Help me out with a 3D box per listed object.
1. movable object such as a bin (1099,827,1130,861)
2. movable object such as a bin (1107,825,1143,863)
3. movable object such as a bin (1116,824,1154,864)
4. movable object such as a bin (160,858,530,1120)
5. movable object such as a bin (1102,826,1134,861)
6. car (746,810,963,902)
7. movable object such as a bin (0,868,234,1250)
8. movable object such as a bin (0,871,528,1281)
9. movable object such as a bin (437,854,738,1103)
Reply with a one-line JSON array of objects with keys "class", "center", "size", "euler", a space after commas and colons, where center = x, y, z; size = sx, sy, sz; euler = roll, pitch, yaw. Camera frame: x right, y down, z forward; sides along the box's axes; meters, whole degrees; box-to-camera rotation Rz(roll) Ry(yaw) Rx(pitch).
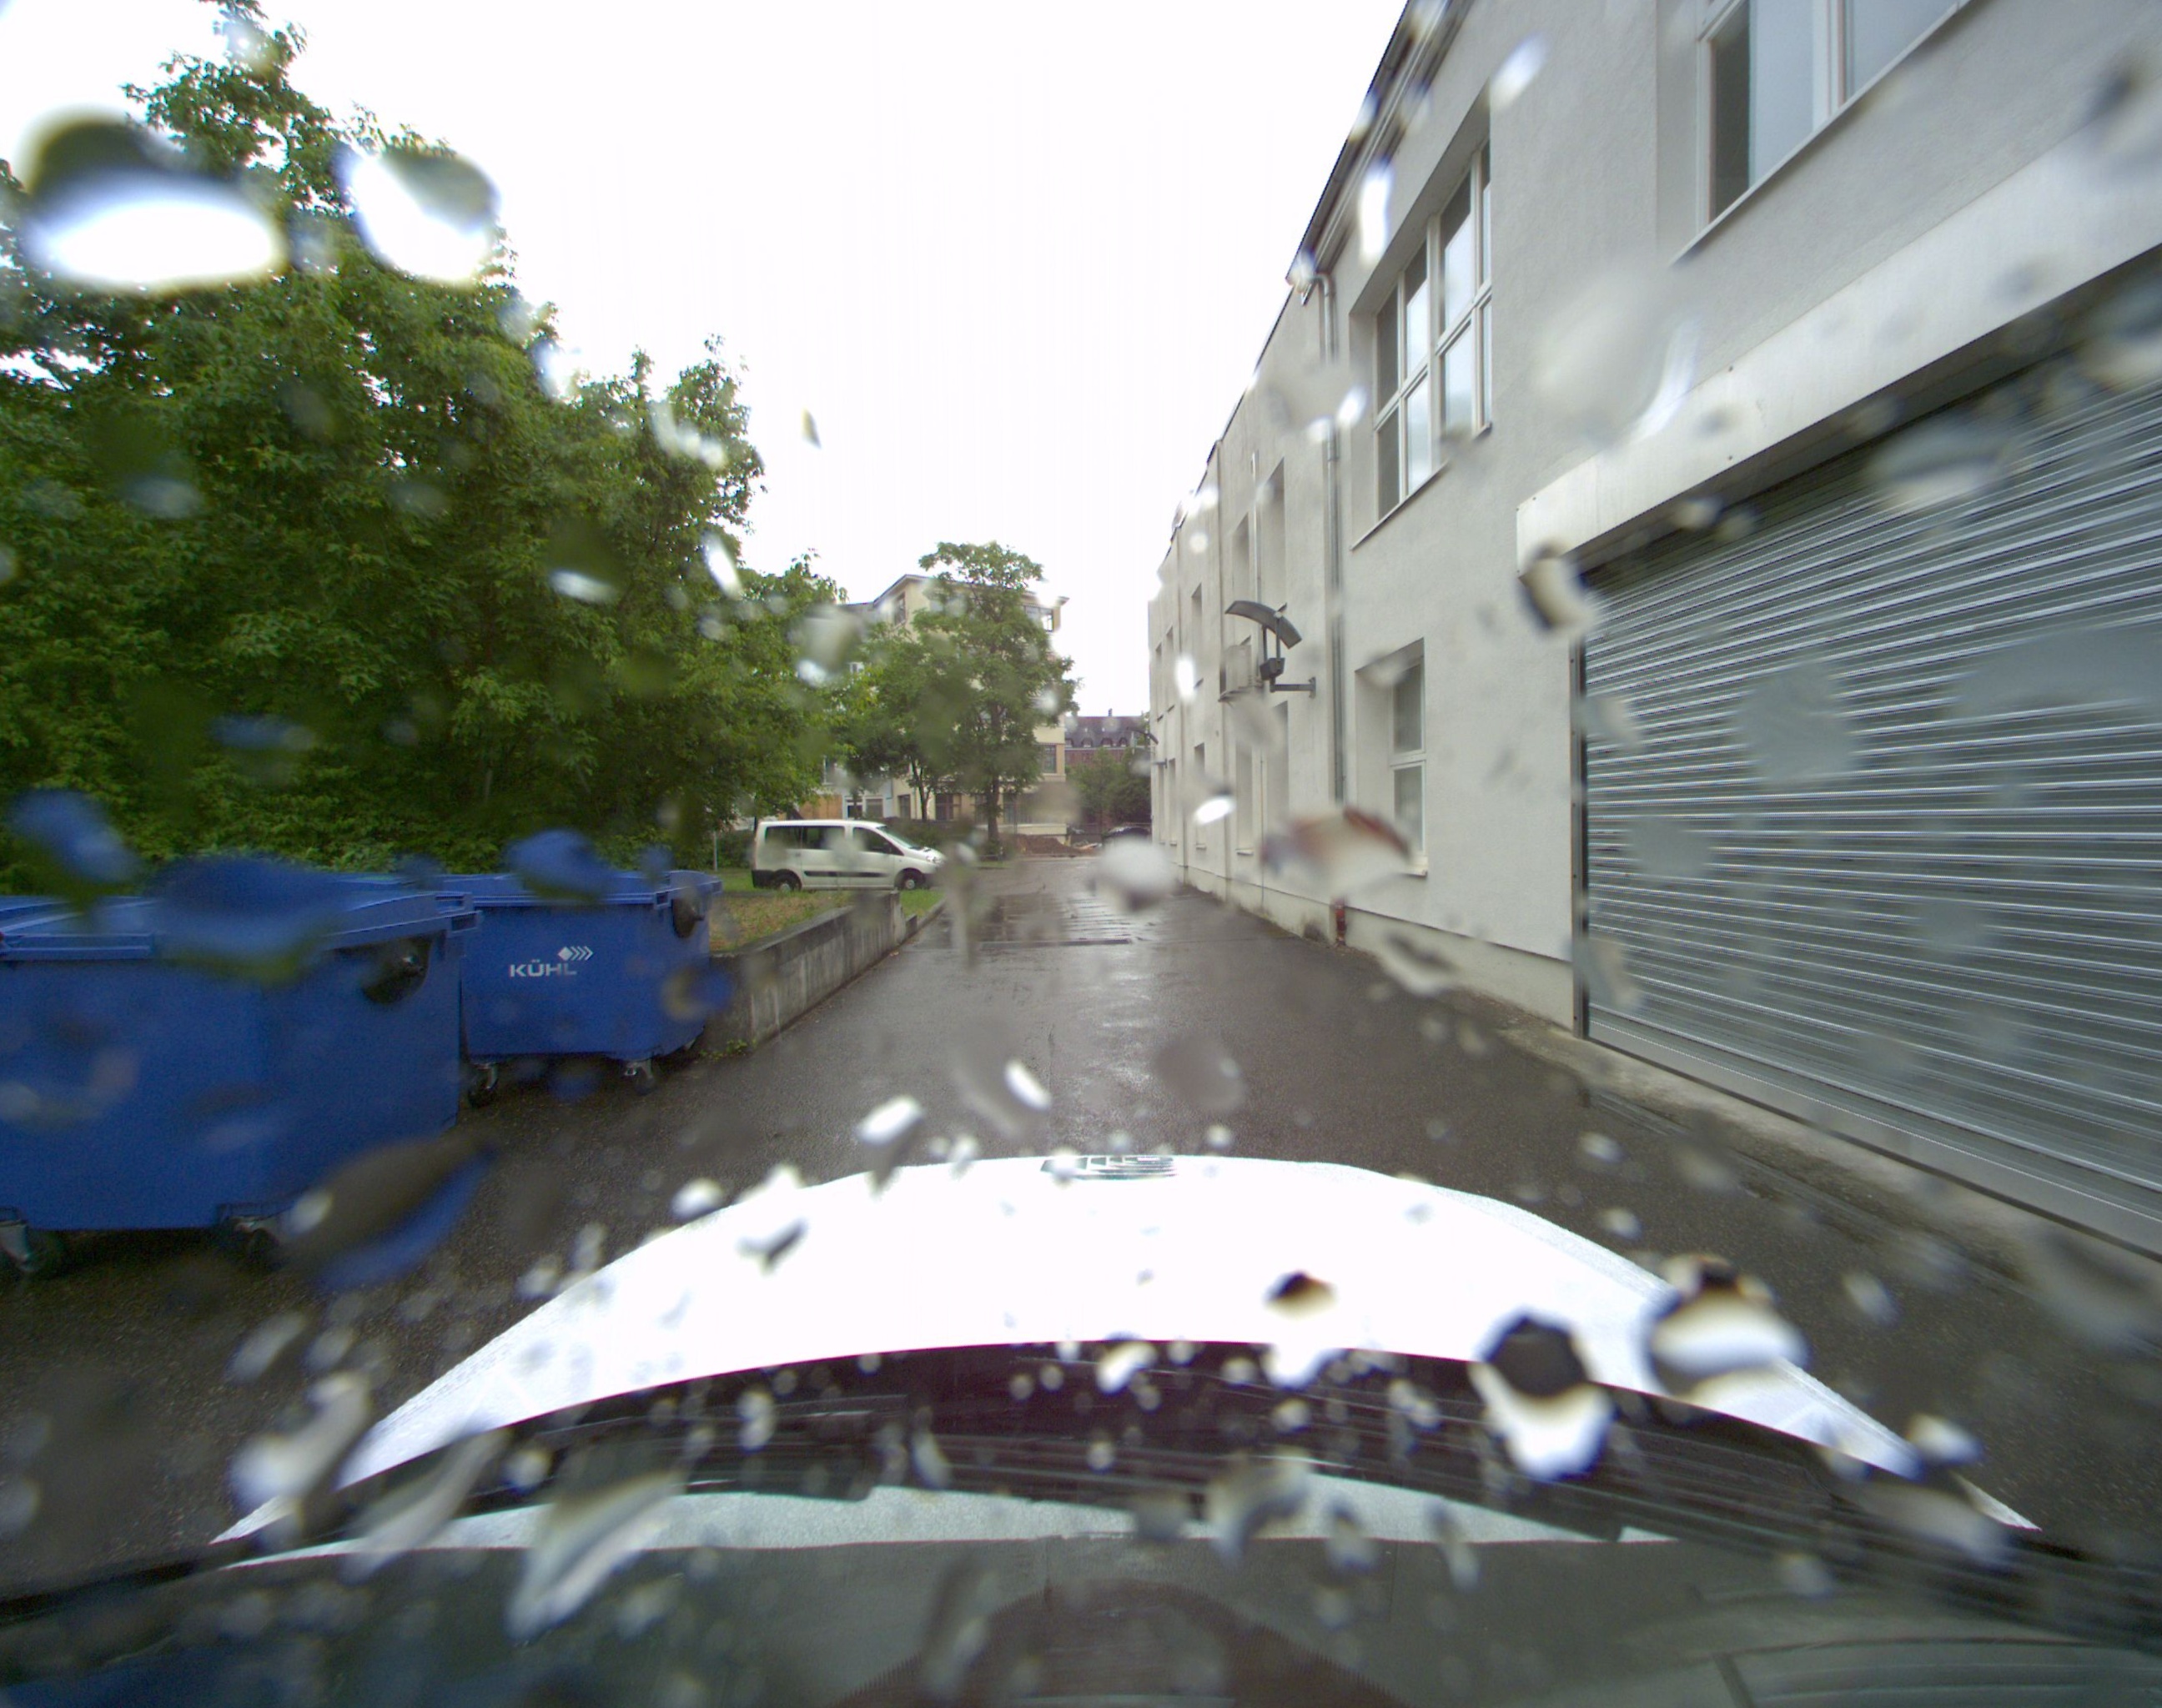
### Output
[{"class": "movable object such as a bin", "center": [1.489, -0.433, 36.147], "size": [1.212, 1.436, 1.257], "euler": [-1, 0, -5]}, {"class": "movable object such as a bin", "center": [1.698, -0.383, 31.768], "size": [1.212, 1.436, 1.292], "euler": [-1, 0, -5]}, {"class": "movable object such as a bin", "center": [1.970, -0.346, 30.092], "size": [1.212, 1.436, 1.234], "euler": [-1, 0, -5]}, {"class": "movable object such as a bin", "center": [-4.298, 0.730, 4.897], "size": [1.218, 1.336, 1.006], "euler": [-1, 3, -2]}, {"class": "movable object such as a bin", "center": [1.574, -0.441, 34.772], "size": [1.212, 1.436, 1.257], "euler": [-1, 0, -5]}, {"class": "car", "center": [-5.484, -0.002, 20.271], "size": [4.768, 2.013, 1.999], "euler": [-2, 2, -2]}, {"class": "movable object such as a bin", "center": [-4.594, 0.770, 3.238], "size": [1.200, 1.336, 1.116], "euler": [0, 3, -2]}, {"class": "movable object such as a bin", "center": [-3.276, 0.774, 3.335], "size": [1.198, 1.337, 1.117], "euler": [-1, 1, 1]}, {"class": "movable object such as a bin", "center": [-2.982, 0.702, 5.090], "size": [1.218, 1.337, 1.006], "euler": [-1, 2, -2]}]
